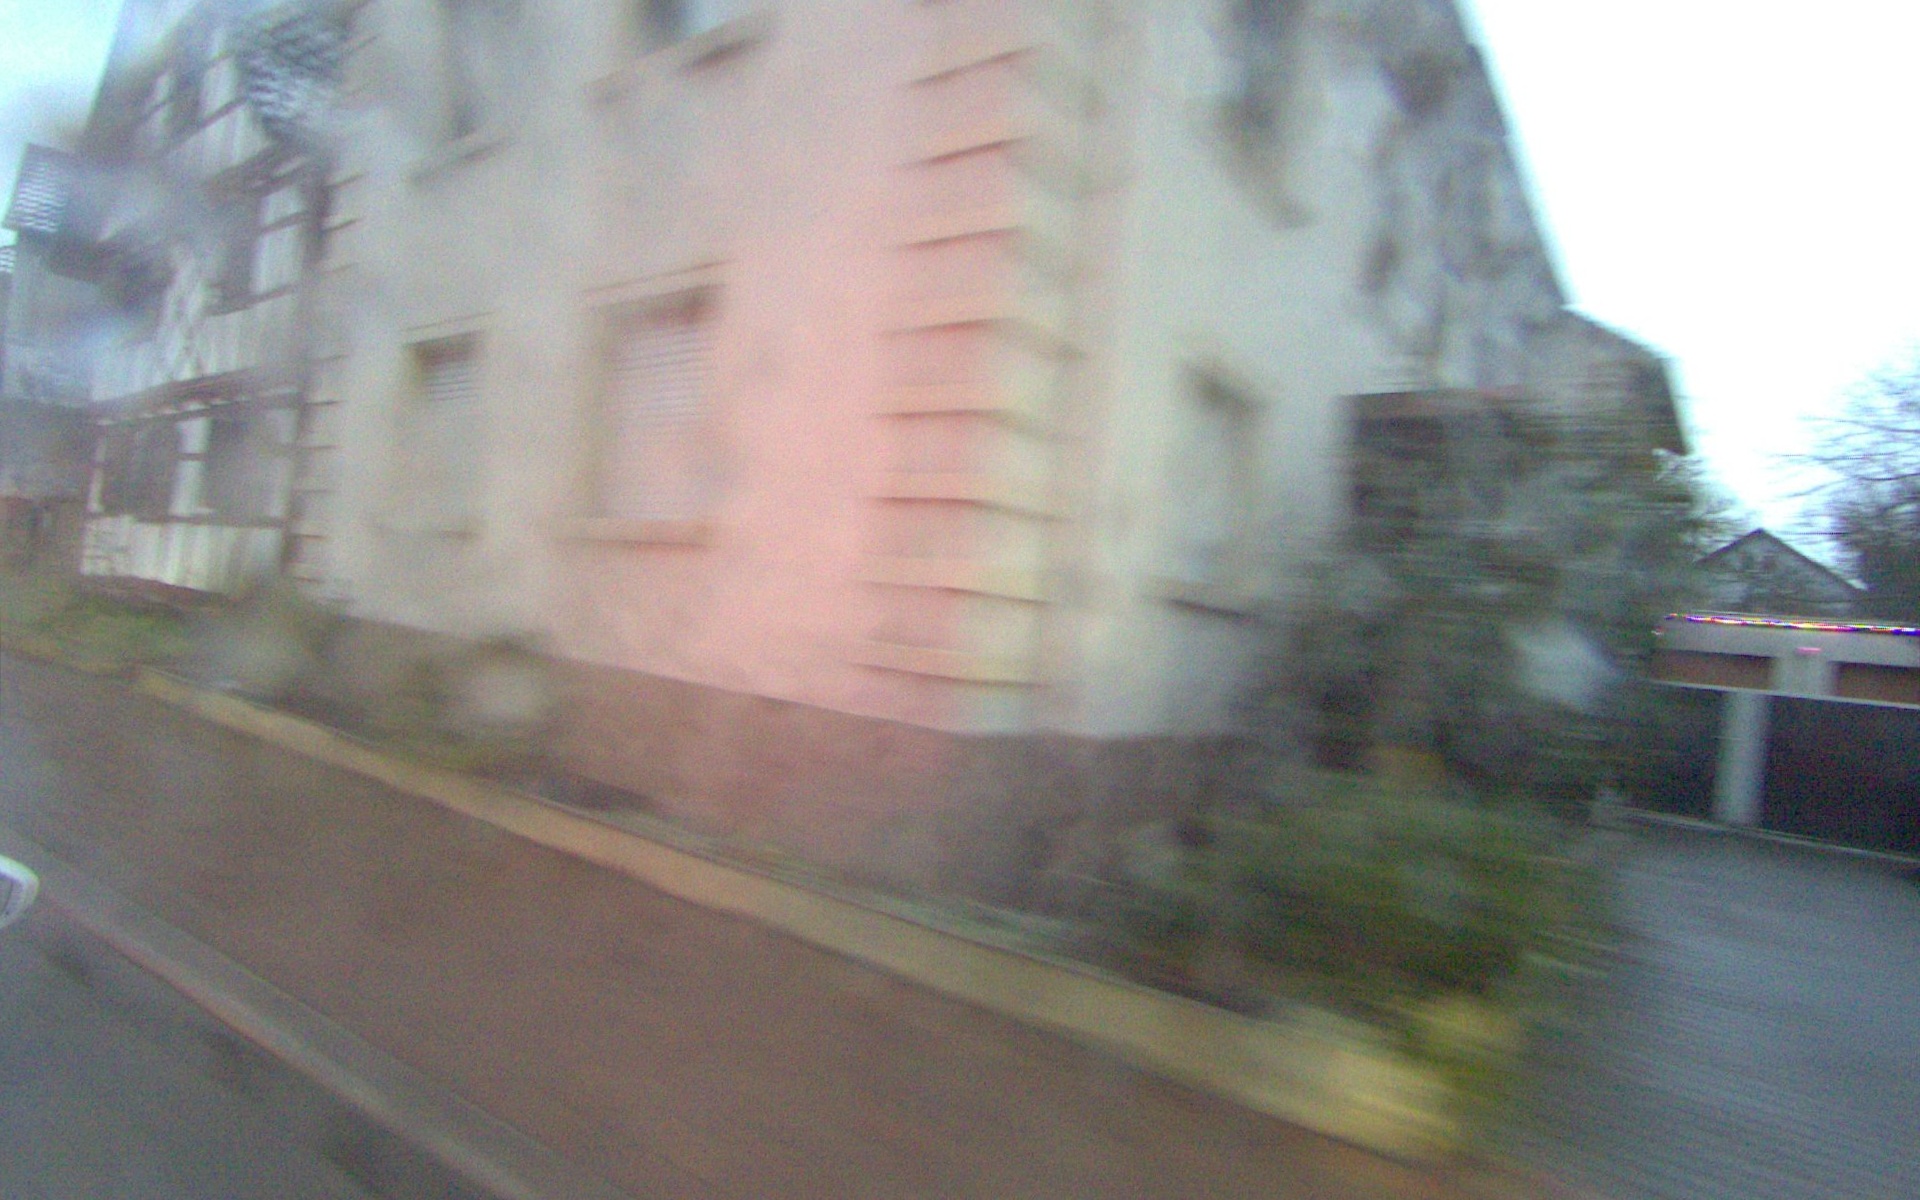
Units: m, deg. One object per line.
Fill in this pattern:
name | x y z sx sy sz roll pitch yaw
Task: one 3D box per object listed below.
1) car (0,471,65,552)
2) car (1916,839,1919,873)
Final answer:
car | -25.745 -2.447 25.105 4.964 1.913 1.912 5 1 -45
car | 9.535 1.971 8.324 1.842 1.486 3.791 6 -1 38
